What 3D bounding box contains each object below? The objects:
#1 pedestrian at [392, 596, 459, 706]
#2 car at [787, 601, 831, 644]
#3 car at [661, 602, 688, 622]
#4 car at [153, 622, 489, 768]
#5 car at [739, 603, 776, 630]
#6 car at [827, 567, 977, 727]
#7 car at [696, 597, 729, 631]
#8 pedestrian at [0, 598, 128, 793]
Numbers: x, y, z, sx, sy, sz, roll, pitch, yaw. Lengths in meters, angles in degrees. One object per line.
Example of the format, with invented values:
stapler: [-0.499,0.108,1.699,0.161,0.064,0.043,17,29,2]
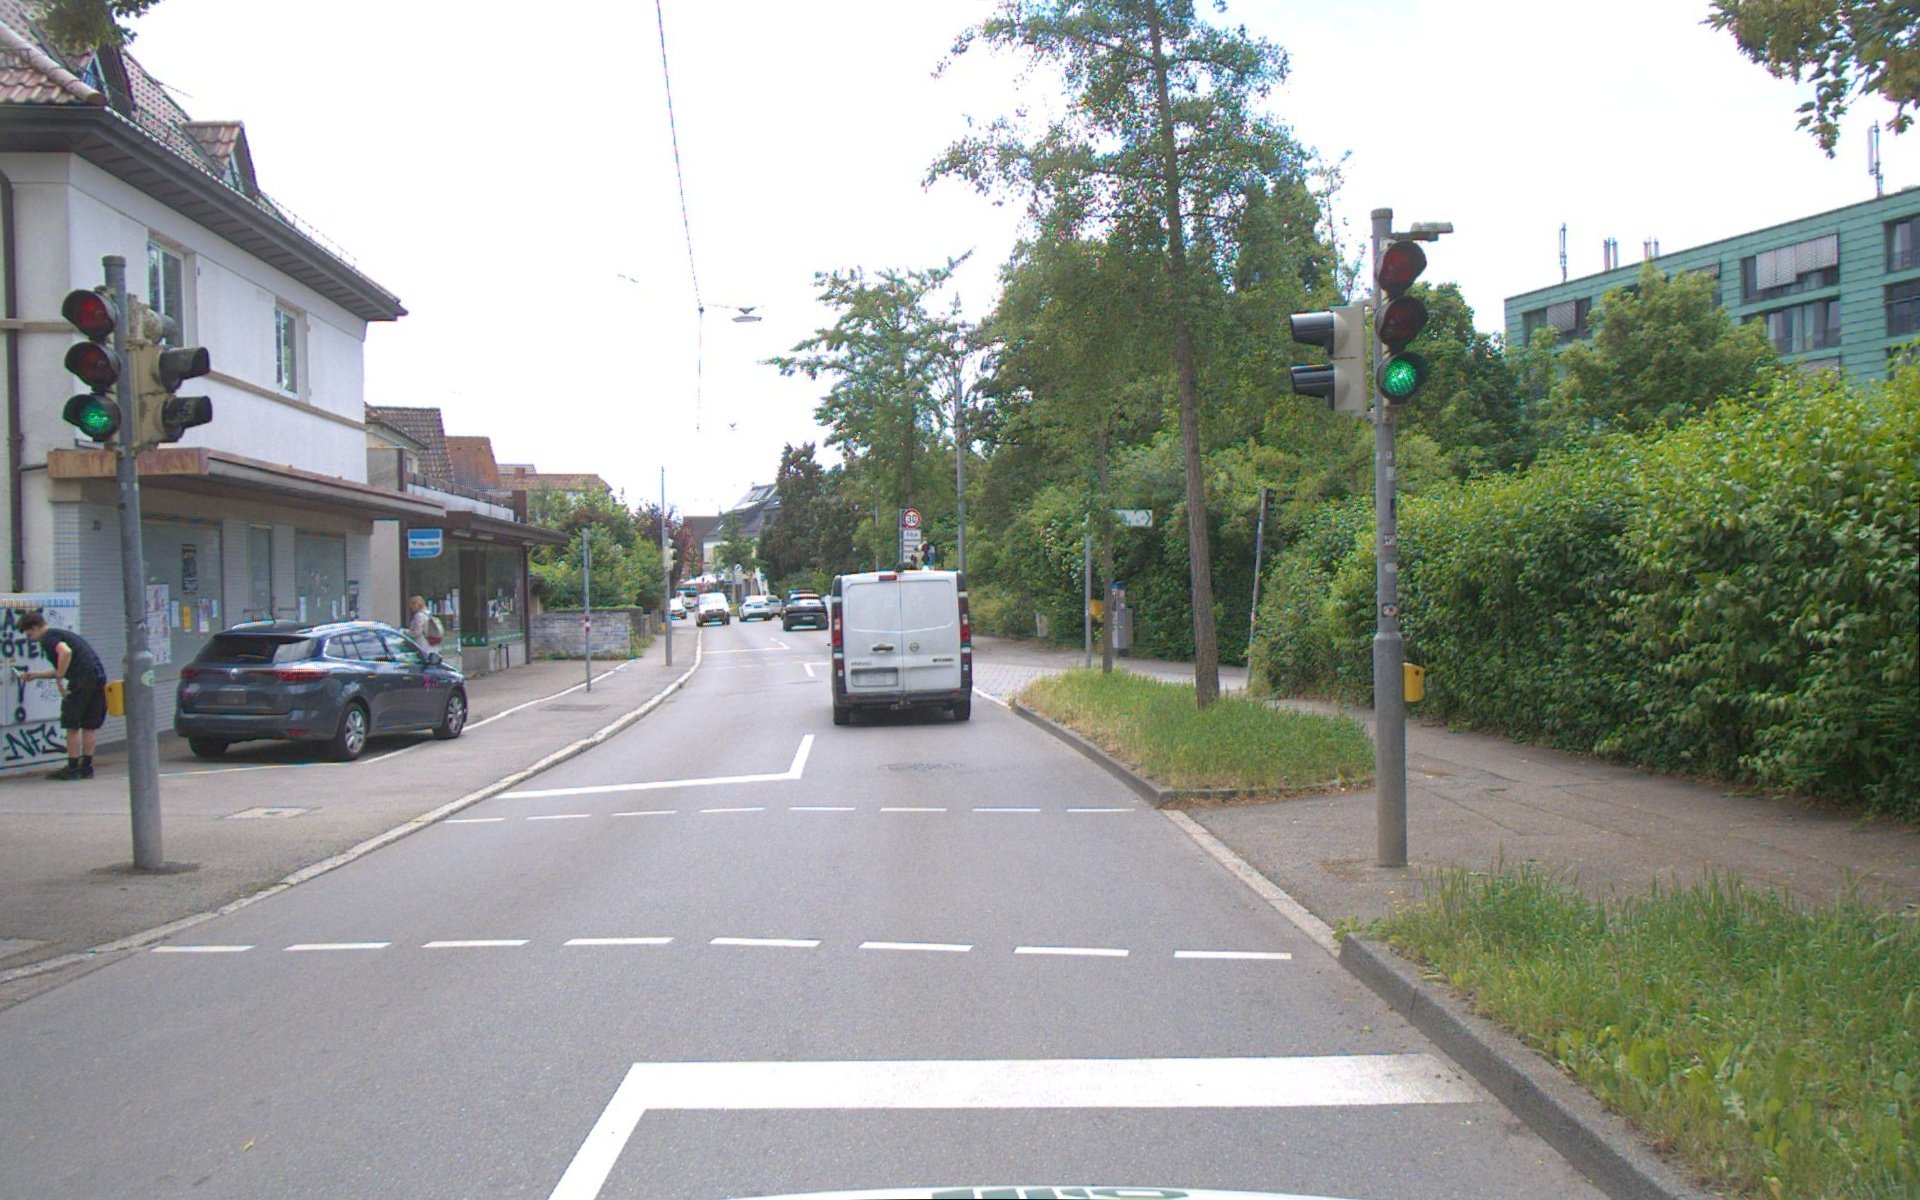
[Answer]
pedestrian: [-8.829,0.845,27.364,0.866,1.781,0.962,1,-1,-8]
car: [-6.823,1.017,75.190,1.859,1.892,4.400,0,-1,-4]
car: [-23.518,0.972,136.251,1.851,1.538,4.098,-2,0,-13]
car: [-7.212,1.032,19.240,1.742,1.467,4.528,1,-1,6]
car: [-13.326,1.105,108.683,1.795,1.758,3.982,0,-1,-16]
car: [-0.822,0.618,23.041,1.891,1.998,4.399,0,-1,-2]
car: [-15.285,0.826,102.107,1.833,1.944,5.105,-3,0,-9]
pedestrian: [-8.379,0.860,15.333,0.867,1.748,0.761,1,-1,12]
